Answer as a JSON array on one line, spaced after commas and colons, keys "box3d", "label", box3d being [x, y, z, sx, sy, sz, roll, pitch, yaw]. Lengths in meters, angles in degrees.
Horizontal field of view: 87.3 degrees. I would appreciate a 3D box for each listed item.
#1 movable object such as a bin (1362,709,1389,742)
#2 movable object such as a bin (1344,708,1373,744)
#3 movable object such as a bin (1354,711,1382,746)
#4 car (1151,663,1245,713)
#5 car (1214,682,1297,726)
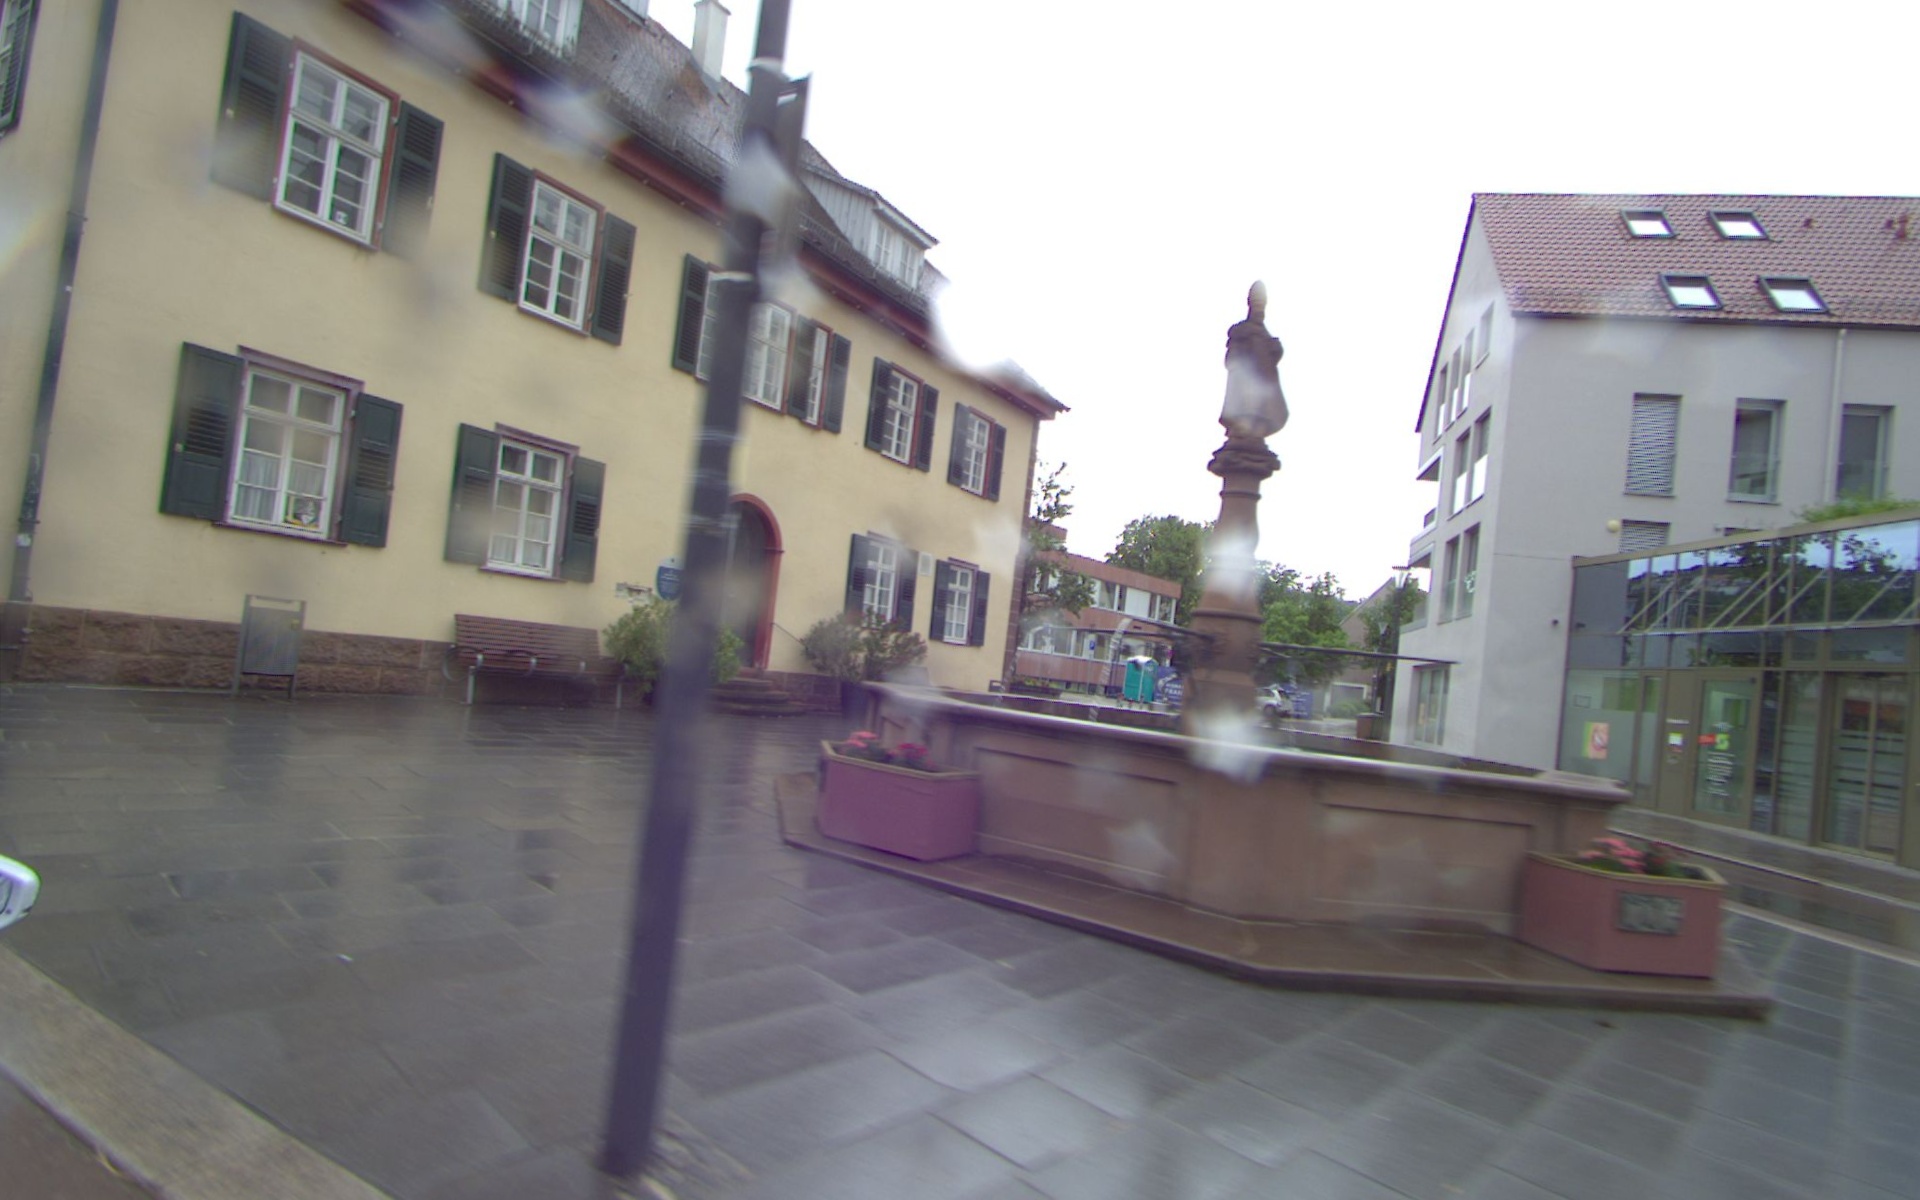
[{"box3d": [17.465, 5.272, 42.253, 0.767, 1.273, 1.016, 6, -1, 33], "label": "movable object such as a bin"}, {"box3d": [15.619, 4.936, 39.452, 0.767, 1.273, 1.016, 6, -1, 33], "label": "movable object such as a bin"}, {"box3d": [16.696, 5.242, 41.120, 0.767, 1.273, 1.016, 6, -1, 33], "label": "movable object such as a bin"}, {"box3d": [11.990, 4.439, 50.757, 4.081, 1.947, 1.902, 6, -2, 37], "label": "car"}, {"box3d": [16.898, 5.950, 57.608, 4.080, 1.947, 1.723, 6, -2, 36], "label": "car"}]
